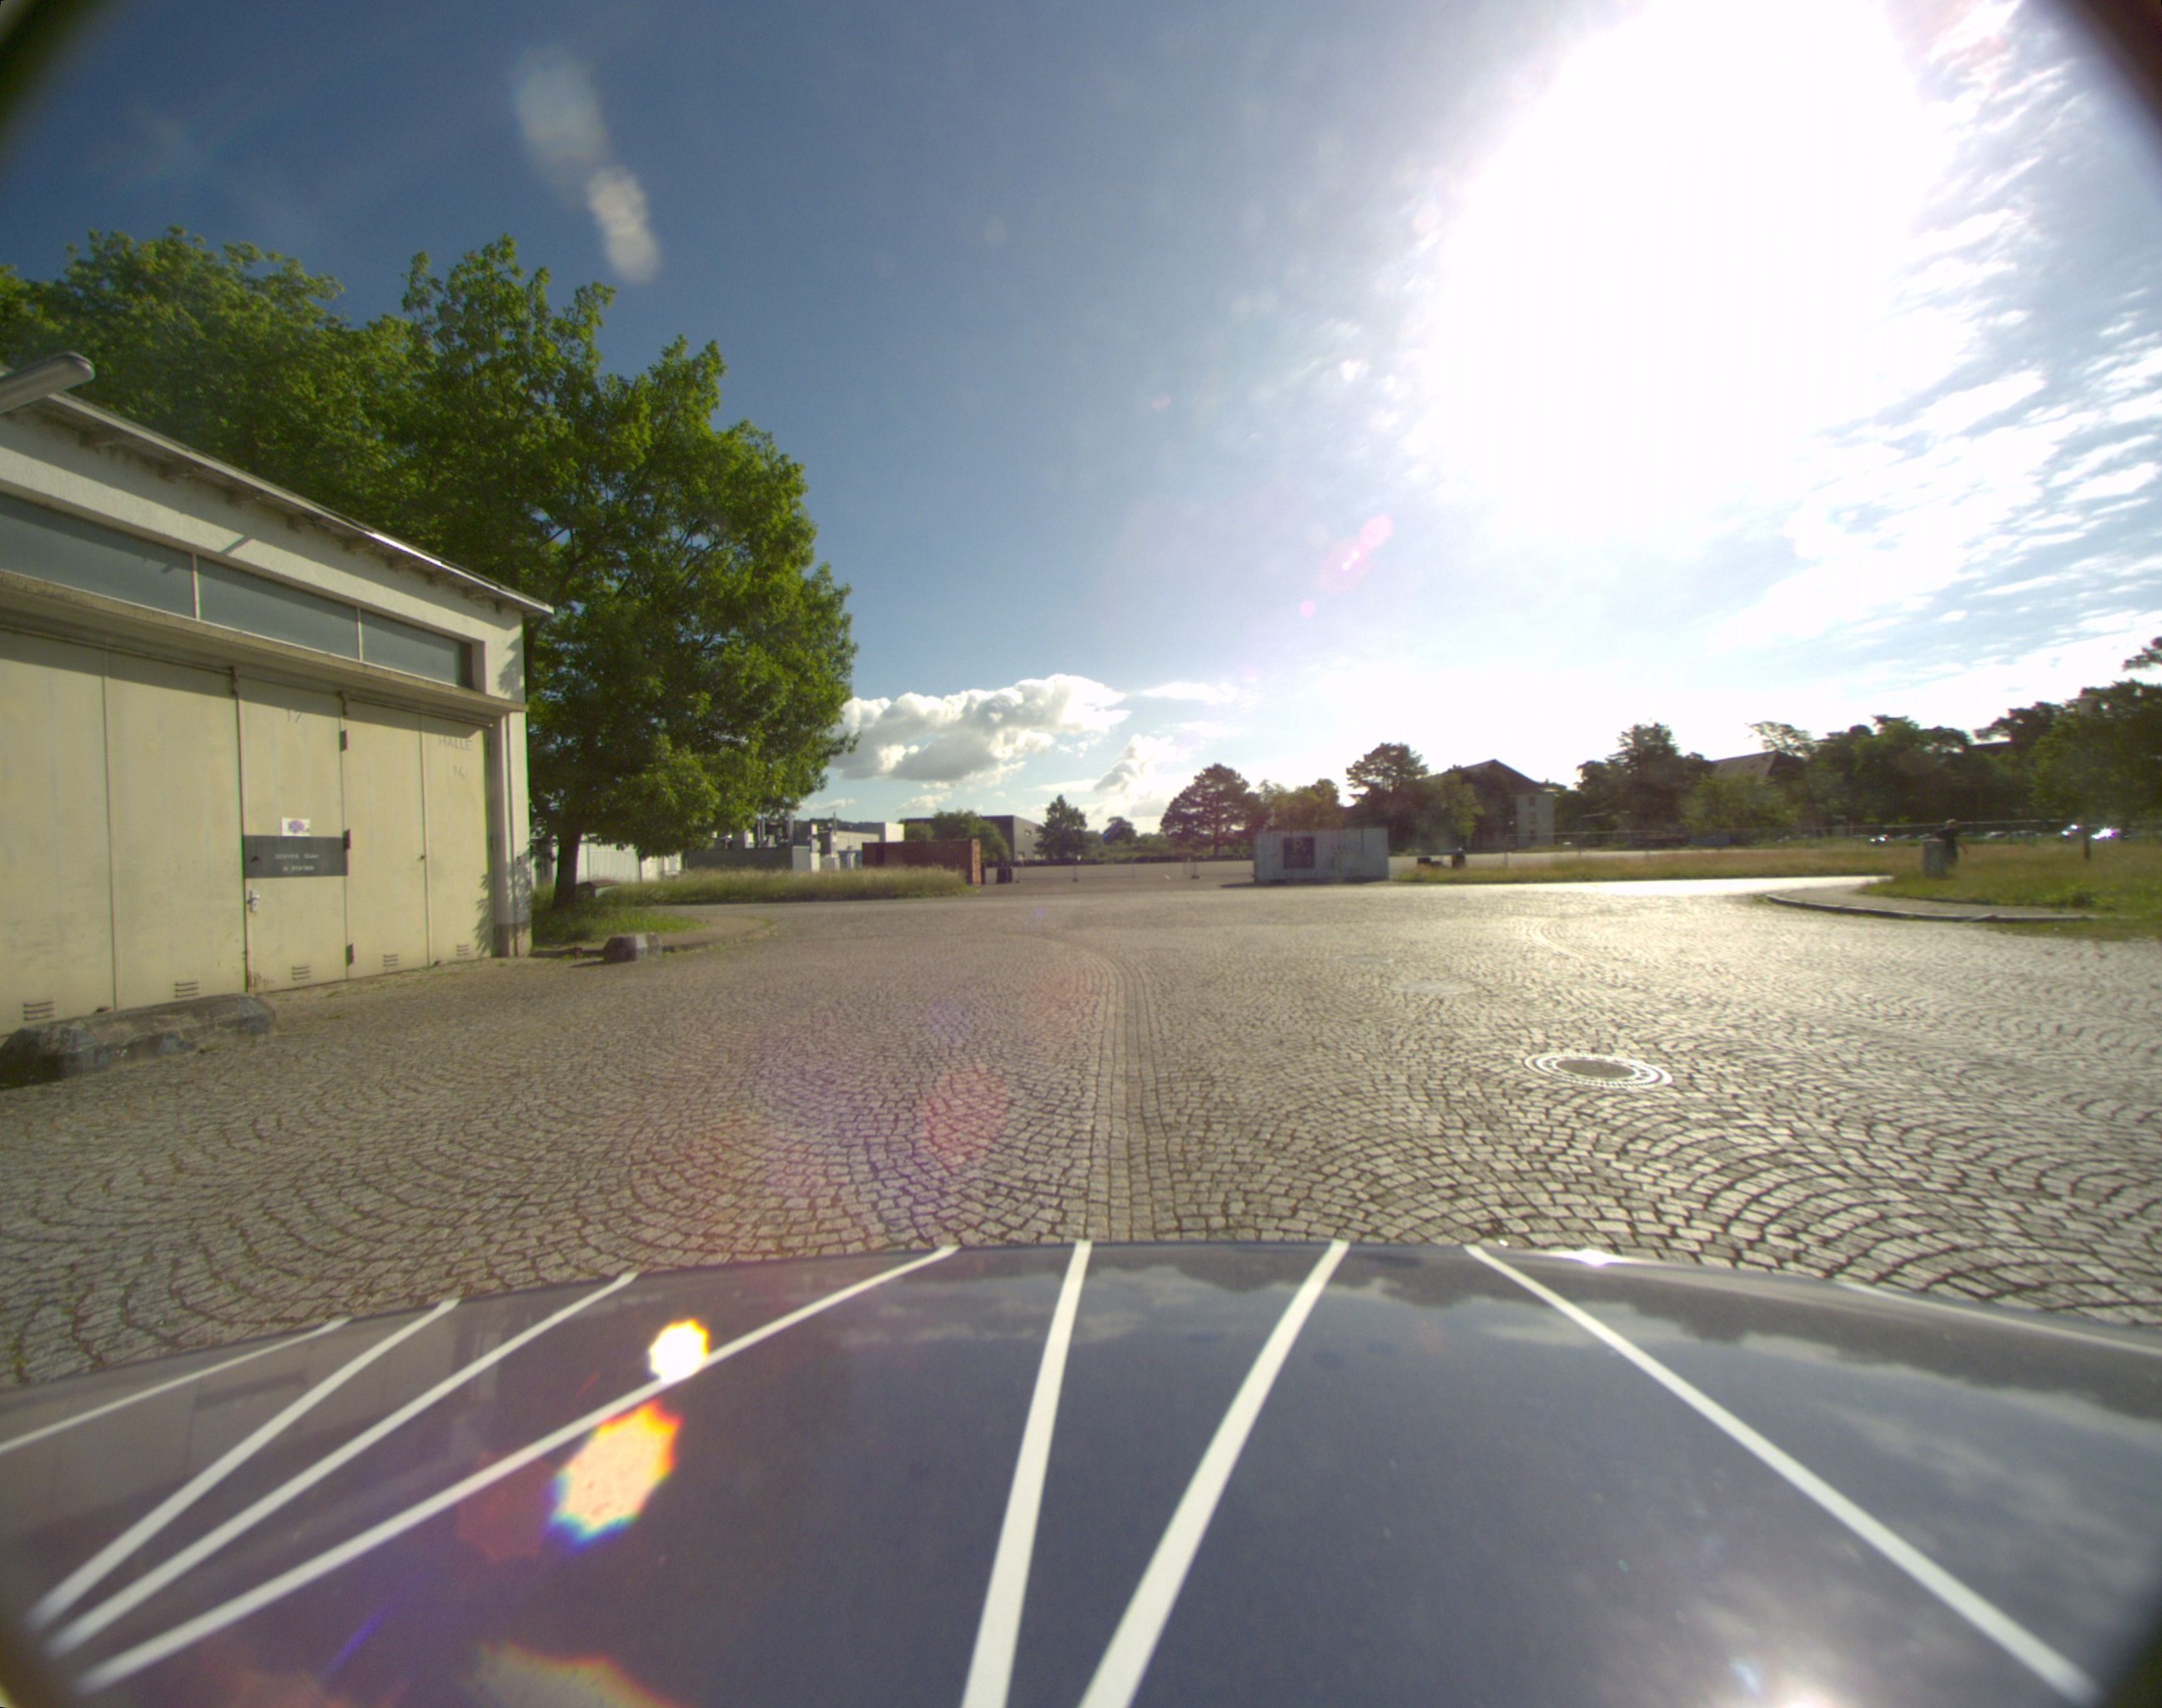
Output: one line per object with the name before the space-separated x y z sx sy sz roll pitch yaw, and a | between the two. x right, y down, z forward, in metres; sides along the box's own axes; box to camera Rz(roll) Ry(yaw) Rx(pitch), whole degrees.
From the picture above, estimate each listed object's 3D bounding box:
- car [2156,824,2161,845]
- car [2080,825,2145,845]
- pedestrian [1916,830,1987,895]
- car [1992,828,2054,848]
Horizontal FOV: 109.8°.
car | 106.410 -1.908 72.926 3.999 2.002 1.999 -1 0 -5
car | 107.234 -1.934 79.035 3.997 1.936 2.000 -1 1 1
pedestrian | 25.937 0.250 22.653 1.141 1.903 0.800 -1 1 4
car | 107.611 -1.791 86.829 3.994 2.001 2.002 -2 -3 10
